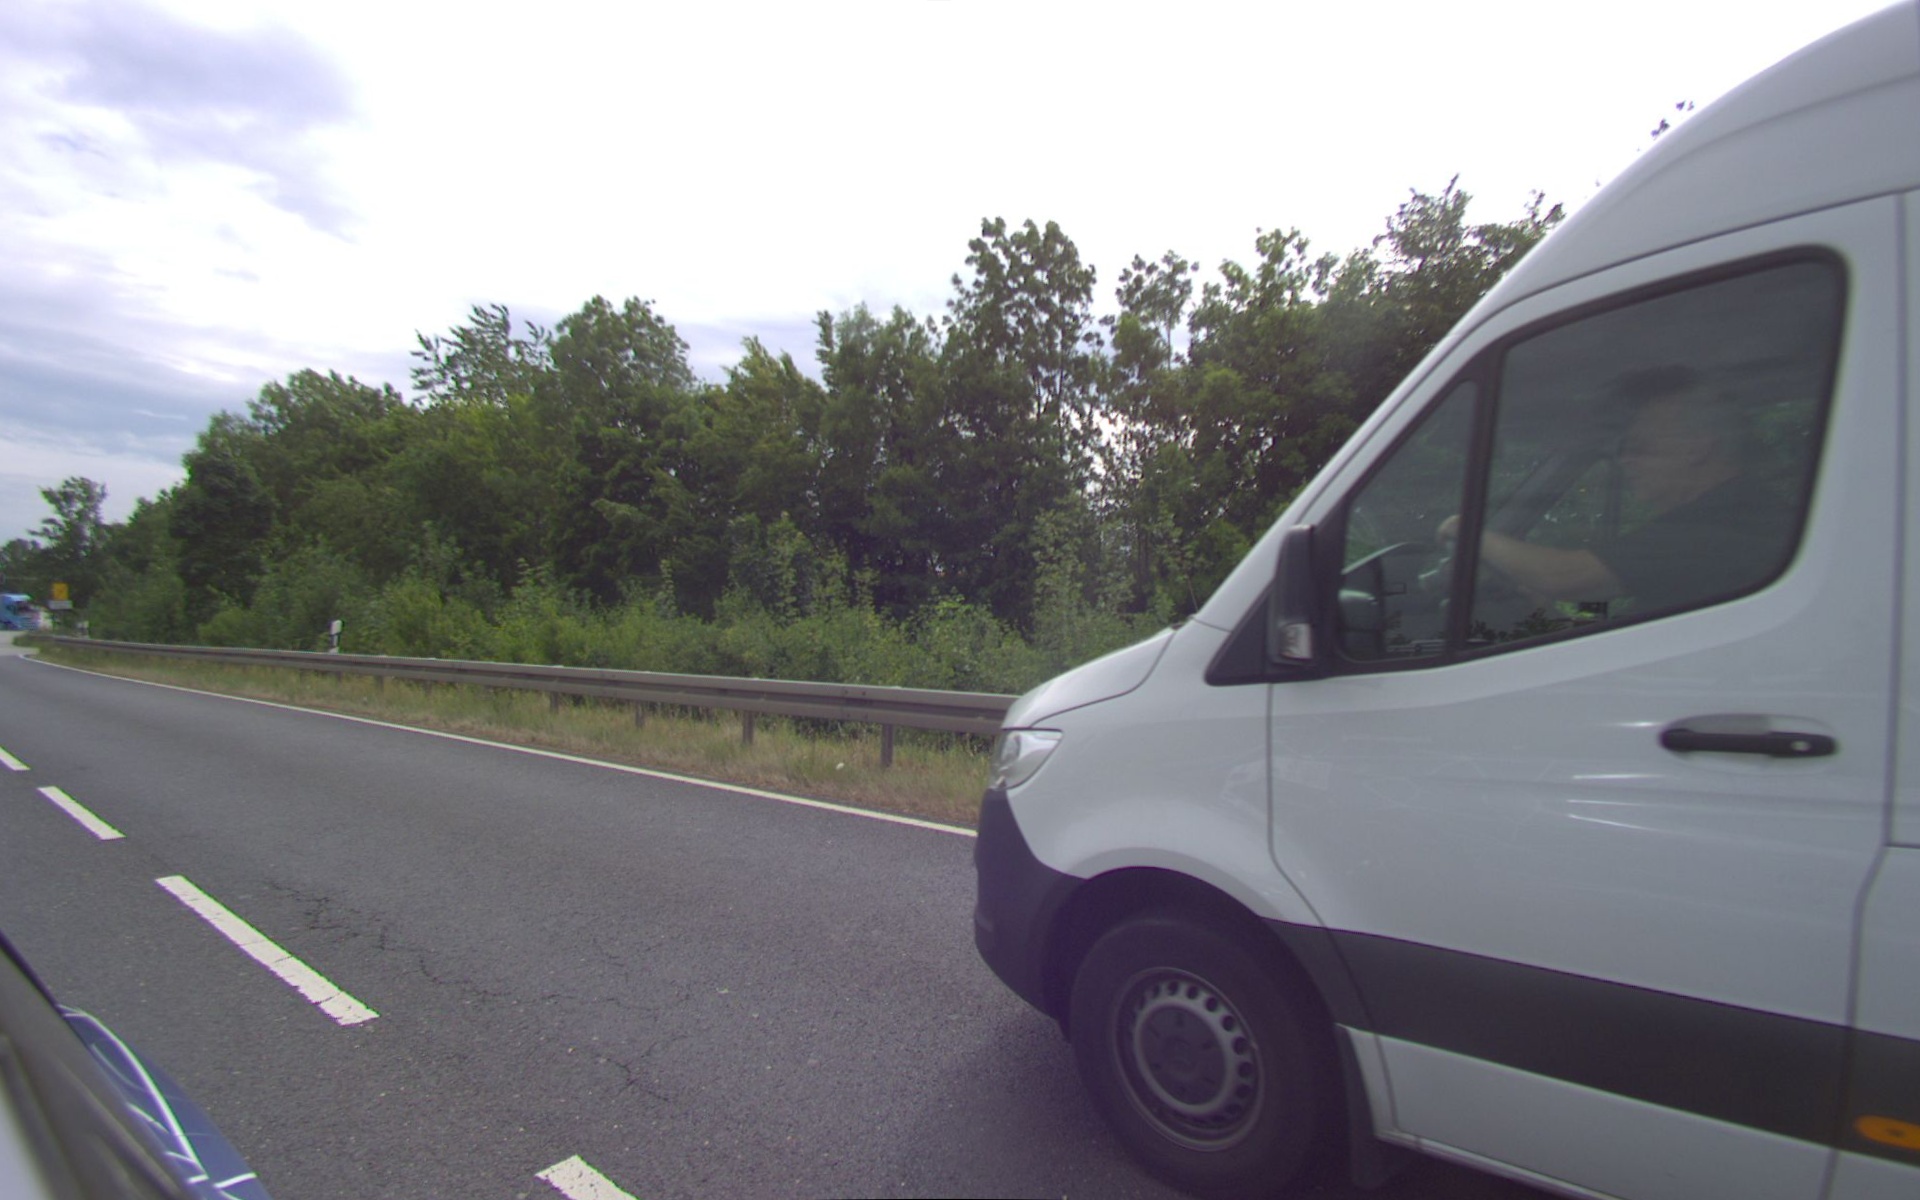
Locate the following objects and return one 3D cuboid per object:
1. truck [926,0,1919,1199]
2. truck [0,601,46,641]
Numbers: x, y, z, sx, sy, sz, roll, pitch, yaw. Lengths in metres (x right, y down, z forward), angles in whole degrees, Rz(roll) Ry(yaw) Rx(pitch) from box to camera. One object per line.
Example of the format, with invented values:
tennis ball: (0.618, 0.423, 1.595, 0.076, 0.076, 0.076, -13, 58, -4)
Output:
truck: (3.223, -0.058, 1.409, 7.002, 2.763, 2.044, -1, -1, 41)
truck: (-109.332, 2.317, 114.813, 9.466, 4.383, 3.019, 1, -2, 10)
